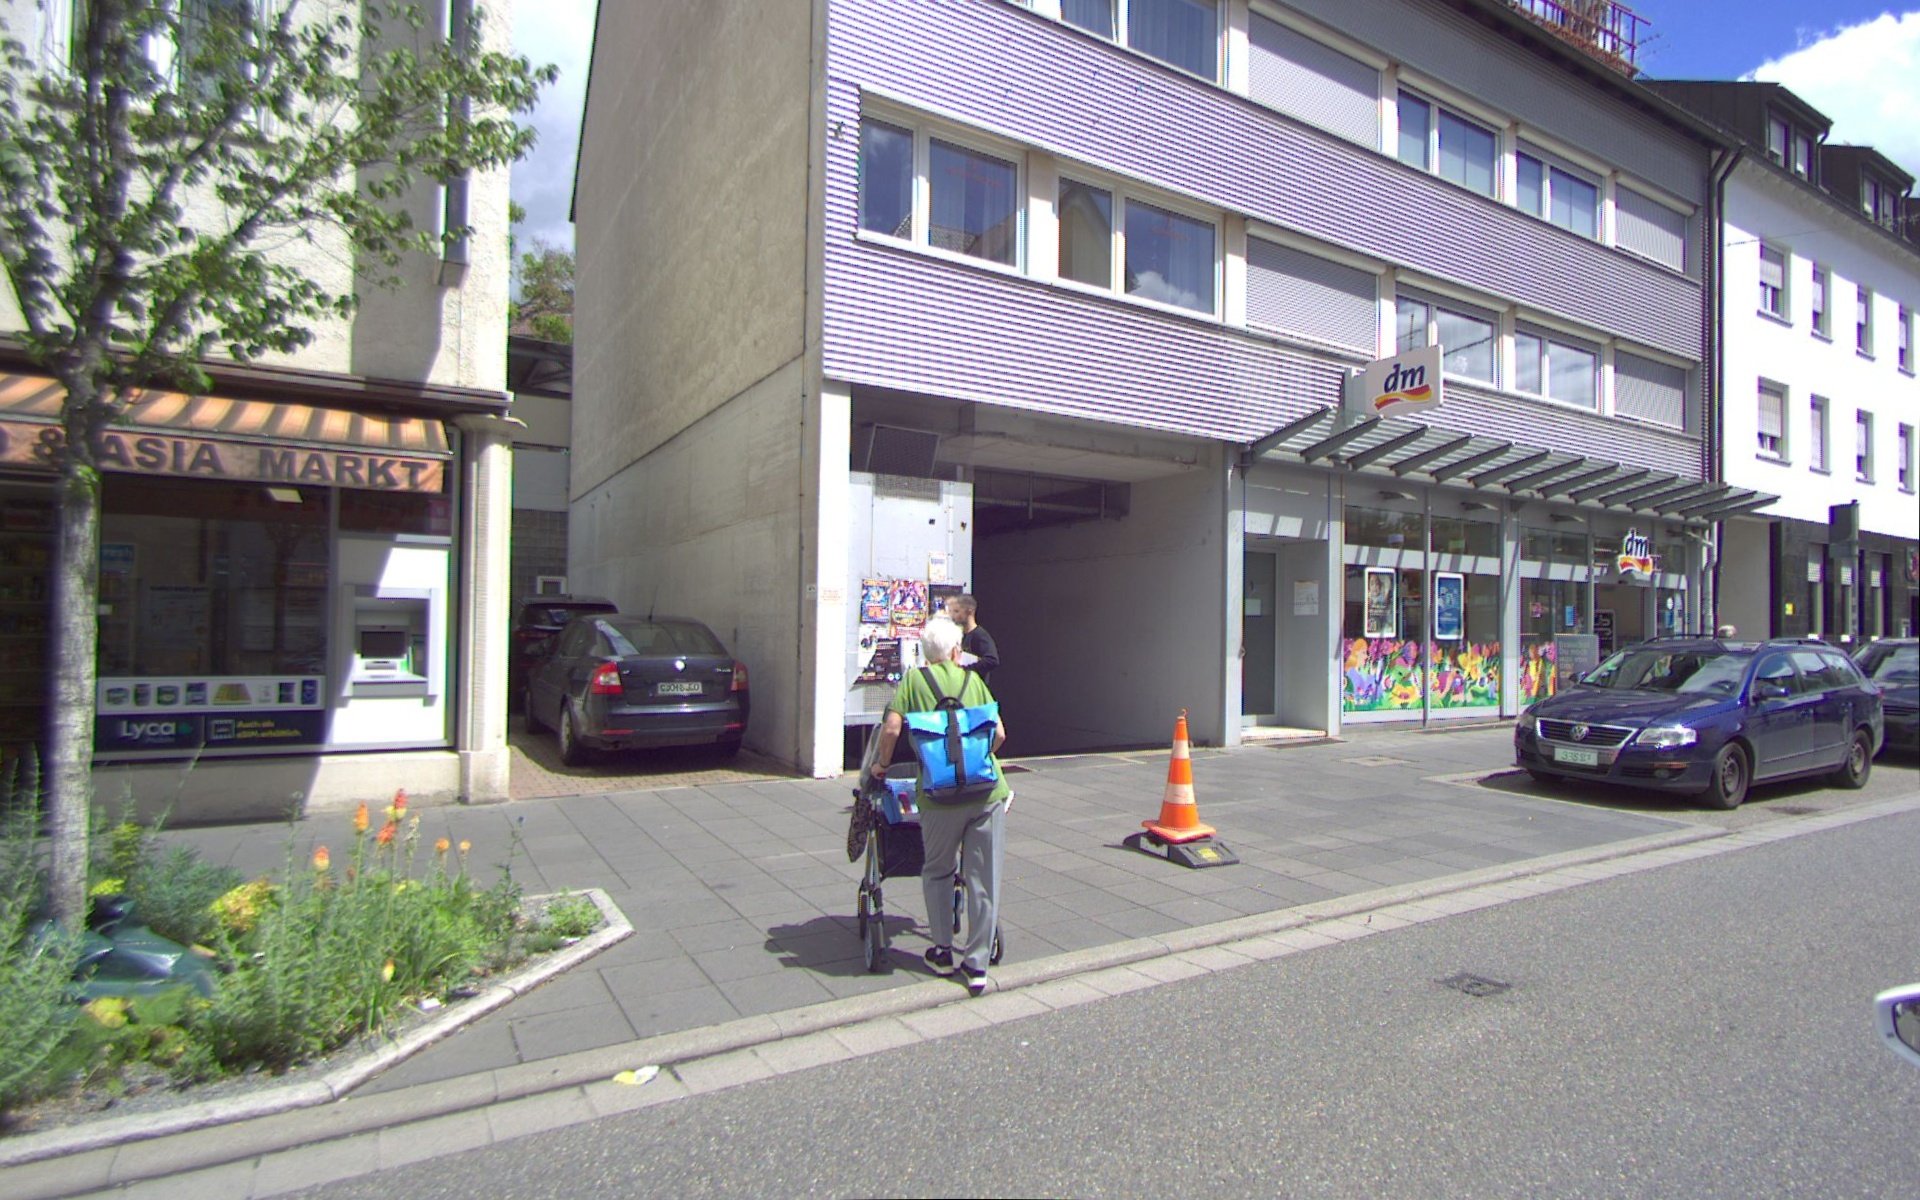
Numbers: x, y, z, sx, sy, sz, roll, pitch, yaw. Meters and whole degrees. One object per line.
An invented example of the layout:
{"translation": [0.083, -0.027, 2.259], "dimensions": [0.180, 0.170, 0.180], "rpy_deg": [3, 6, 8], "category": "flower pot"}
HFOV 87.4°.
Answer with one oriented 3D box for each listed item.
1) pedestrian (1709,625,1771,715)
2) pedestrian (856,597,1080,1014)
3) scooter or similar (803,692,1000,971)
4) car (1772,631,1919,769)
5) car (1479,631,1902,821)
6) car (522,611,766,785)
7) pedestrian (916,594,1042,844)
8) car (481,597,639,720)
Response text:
{"translation": [13.253, 1.178, 17.076], "dimensions": [0.556, 1.474, 0.651], "rpy_deg": [2, 0, -30], "category": "pedestrian"}
{"translation": [0.023, 0.820, 4.455], "dimensions": [0.645, 1.639, 0.726], "rpy_deg": [2, 0, -35], "category": "pedestrian"}
{"translation": [-0.300, 1.063, 4.913], "dimensions": [0.624, 1.141, 0.776], "rpy_deg": [2, 0, -35], "category": "scooter or similar"}
{"translation": [12.366, 1.209, 13.000], "dimensions": [4.135, 1.523, 1.779], "rpy_deg": [2, 0, -34], "category": "car"}
{"translation": [7.500, 1.100, 10.193], "dimensions": [4.657, 1.533, 1.781], "rpy_deg": [1, -1, -30], "category": "car"}
{"translation": [-3.528, 0.890, 10.755], "dimensions": [1.638, 1.429, 3.801], "rpy_deg": [2, 0, -31], "category": "car"}
{"translation": [0.145, 0.856, 7.582], "dimensions": [0.721, 1.780, 0.544], "rpy_deg": [2, 0, -34], "category": "pedestrian"}
{"translation": [-6.192, 0.793, 15.308], "dimensions": [1.638, 1.584, 3.801], "rpy_deg": [2, 0, -31], "category": "car"}
